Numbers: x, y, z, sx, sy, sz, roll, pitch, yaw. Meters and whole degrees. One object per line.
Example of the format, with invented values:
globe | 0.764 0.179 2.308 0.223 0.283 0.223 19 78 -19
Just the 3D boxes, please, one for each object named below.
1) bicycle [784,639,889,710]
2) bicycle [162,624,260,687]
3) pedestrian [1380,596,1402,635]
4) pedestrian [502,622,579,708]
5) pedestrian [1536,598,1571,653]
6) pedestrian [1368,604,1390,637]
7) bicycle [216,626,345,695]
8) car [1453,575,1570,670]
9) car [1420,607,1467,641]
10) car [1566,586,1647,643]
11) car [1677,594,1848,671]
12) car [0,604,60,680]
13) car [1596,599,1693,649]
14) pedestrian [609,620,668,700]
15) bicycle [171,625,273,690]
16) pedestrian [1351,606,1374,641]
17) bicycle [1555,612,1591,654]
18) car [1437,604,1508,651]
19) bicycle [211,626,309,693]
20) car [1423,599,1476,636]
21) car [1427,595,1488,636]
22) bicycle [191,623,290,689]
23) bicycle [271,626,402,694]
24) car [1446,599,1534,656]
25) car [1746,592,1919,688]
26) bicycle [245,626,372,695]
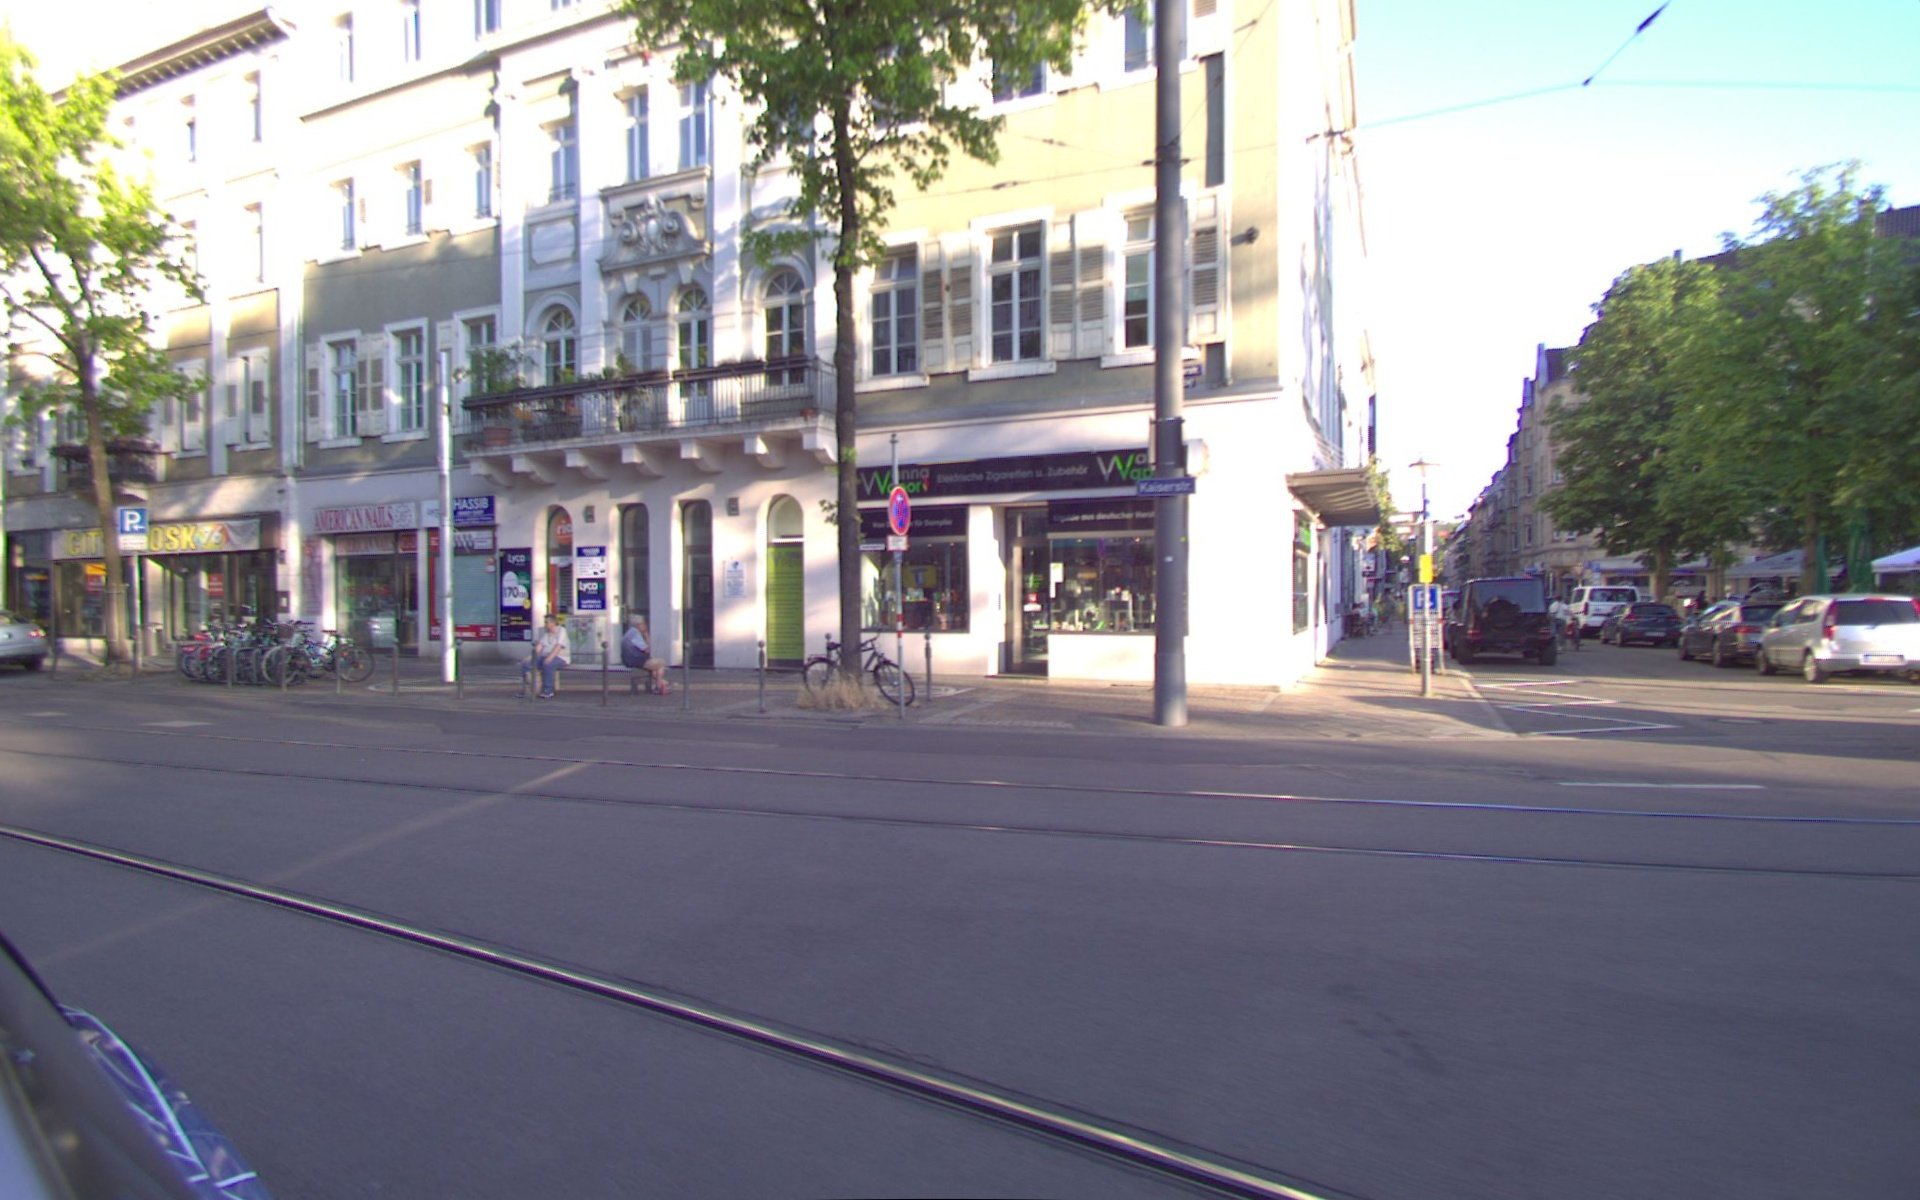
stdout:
bicycle | -1.727 1.019 14.085 1.501 0.953 0.335 -1 -1 26
bicycle | -15.239 1.107 20.646 0.559 1.113 1.952 -1 1 -1
pedestrian | 17.472 0.620 40.993 0.767 1.569 0.739 -1 -1 25
pedestrian | -6.633 1.011 16.029 0.851 1.300 0.725 -1 0 22
pedestrian | 17.508 0.747 29.868 0.740 1.592 0.765 -1 -1 24
pedestrian | 16.749 0.814 40.456 0.767 1.319 0.739 -1 -1 25
bicycle | -12.763 1.108 19.083 0.498 1.113 2.012 0 2 27
car | 13.075 0.496 24.246 1.913 2.029 4.599 -1 0 22
car | 23.731 1.157 49.773 1.887 1.527 4.109 -1 0 23
car | 24.328 0.527 38.218 1.887 2.045 3.965 -1 0 23
car | 17.541 0.647 22.365 1.887 1.527 4.109 -1 0 23
car | -22.940 0.976 23.108 4.675 1.591 1.827 -1 3 25
car | 21.967 0.741 32.618 1.887 1.527 3.608 -1 0 23
pedestrian | -4.987 0.919 15.722 0.637 1.203 0.589 -1 0 22
bicycle | -14.600 1.103 20.100 0.494 1.113 2.115 -1 1 -1
pedestrian | 14.201 0.841 35.727 0.704 1.213 0.765 -1 -1 24
bicycle | 17.959 0.957 29.675 0.562 1.160 2.009 -1 0 22
car | 17.792 0.917 35.265 1.887 1.527 4.109 -1 0 23
bicycle | -13.499 1.122 19.578 0.494 1.113 2.031 -1 1 -1
car | 21.849 0.758 45.278 1.887 1.527 4.109 -1 0 23
car | 19.648 0.596 40.106 1.887 1.527 4.109 -1 0 23
bicycle | -14.043 1.064 19.824 0.494 1.113 2.031 -1 1 -1
bicycle | -11.403 1.078 18.576 1.996 1.113 0.502 -1 2 -31
car | 15.338 0.755 29.469 1.887 1.527 4.109 -1 0 23
car | 15.769 0.633 18.078 1.717 1.527 3.969 -1 0 23
bicycle | -12.169 1.097 18.984 0.498 1.113 2.012 0 2 27
